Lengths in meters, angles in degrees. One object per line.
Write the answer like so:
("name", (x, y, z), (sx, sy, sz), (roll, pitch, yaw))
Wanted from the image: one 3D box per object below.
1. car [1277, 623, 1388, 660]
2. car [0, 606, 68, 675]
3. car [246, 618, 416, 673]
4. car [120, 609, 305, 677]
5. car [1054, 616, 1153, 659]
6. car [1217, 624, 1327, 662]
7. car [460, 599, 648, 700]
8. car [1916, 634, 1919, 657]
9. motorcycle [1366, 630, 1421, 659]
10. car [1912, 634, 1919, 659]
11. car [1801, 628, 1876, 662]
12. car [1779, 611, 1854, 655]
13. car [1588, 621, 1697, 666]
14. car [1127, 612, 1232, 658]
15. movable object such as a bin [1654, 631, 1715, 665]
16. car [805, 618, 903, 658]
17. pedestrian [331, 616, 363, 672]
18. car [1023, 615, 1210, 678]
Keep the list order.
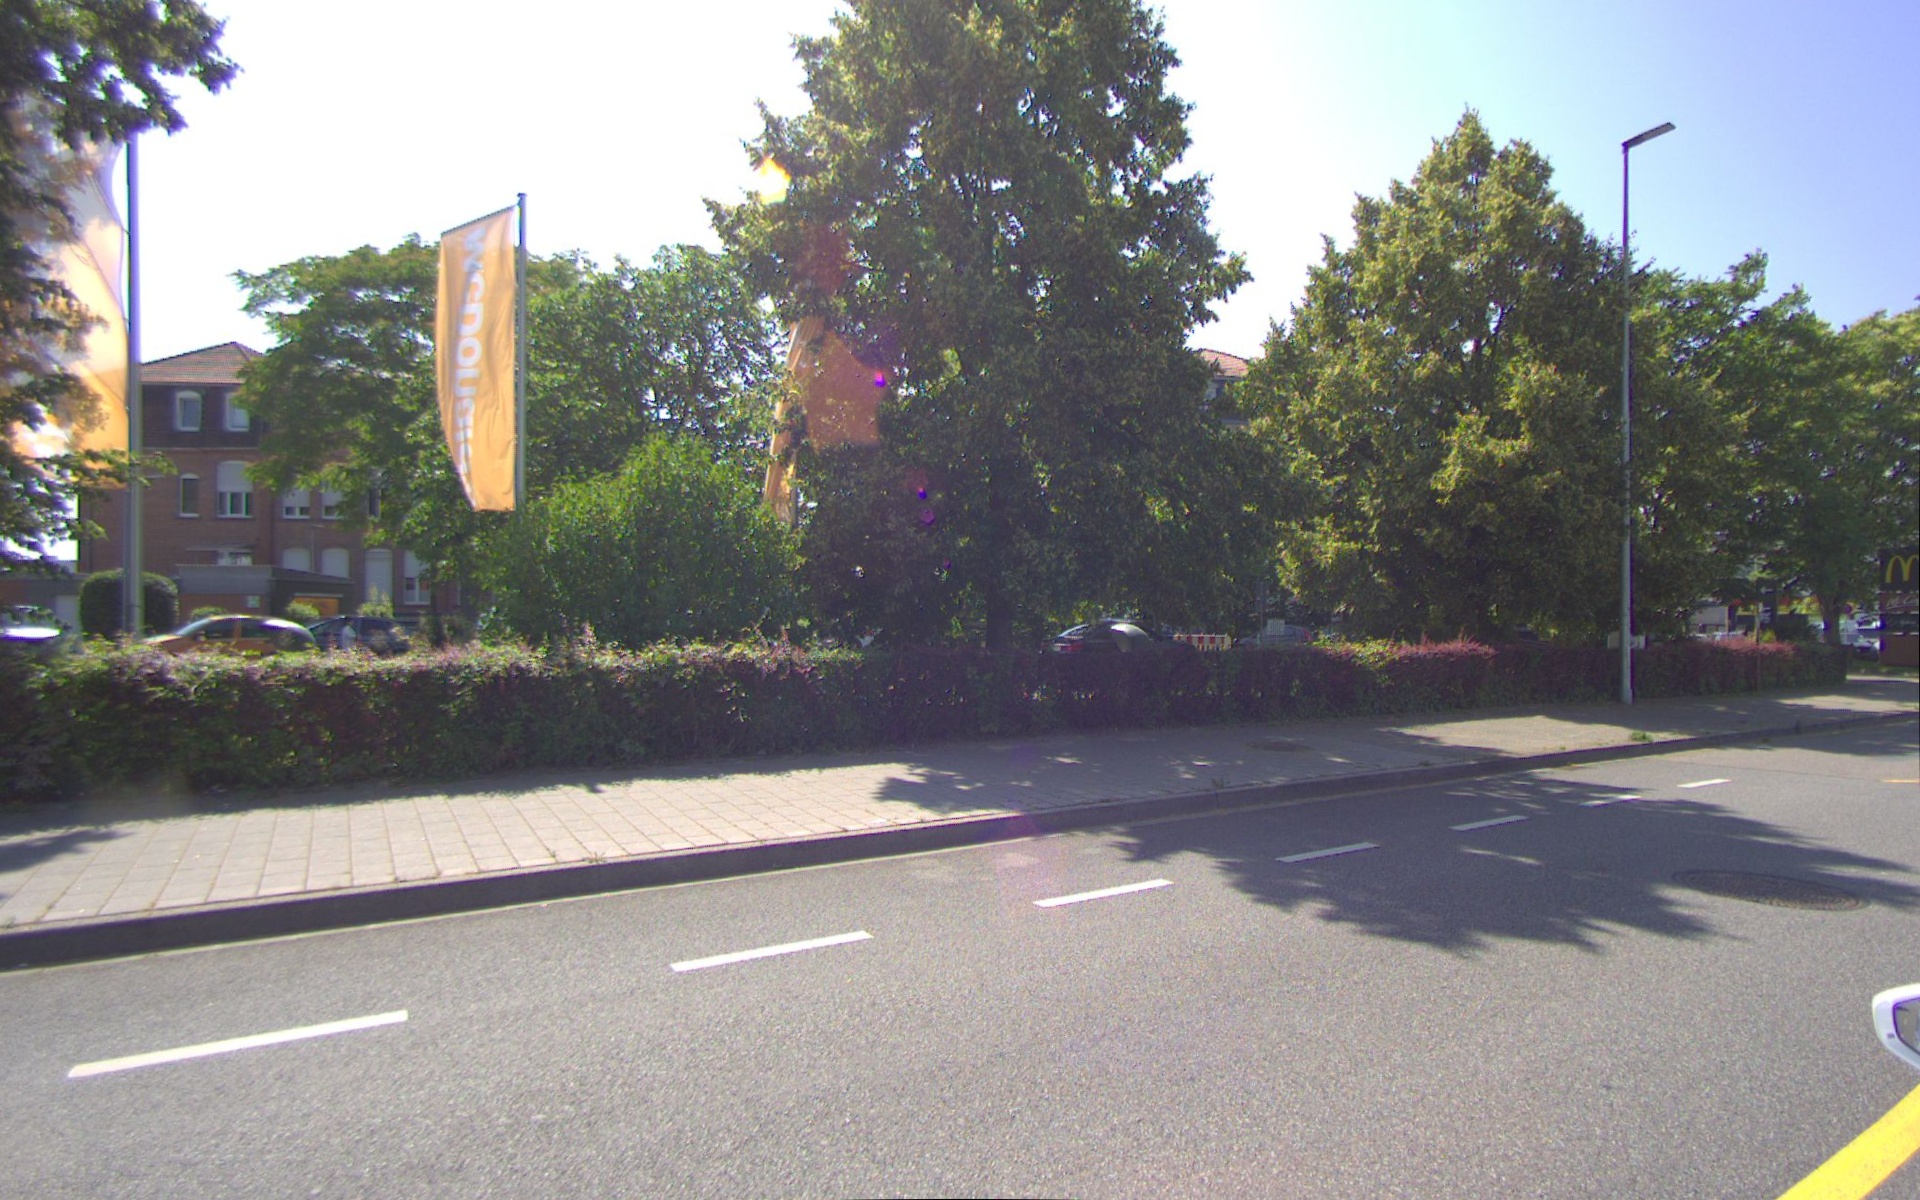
("car", (15.741, 1.710, 42.551), (4.040, 1.406, 1.759), (1, -1, 45))
("car", (-23.379, 0.960, 24.971), (1.610, 1.552, 3.564), (1, -1, -45))
("car", (-19.244, 1.364, 30.846), (1.741, 1.537, 4.146), (1, -1, 45))
("car", (-19.653, 1.096, 26.503), (1.646, 1.654, 3.701), (1, -1, 44))
("car", (5.936, 1.532, 41.795), (3.795, 1.609, 1.634), (1, -1, 43))
("car", (12.784, 1.737, 41.263), (4.016, 1.414, 1.617), (1, -1, 45))
("car", (-8.388, 0.931, 20.598), (4.287, 1.852, 1.741), (0, 0, 39))
("car", (62.681, 2.845, 63.614), (1.752, 1.492, 3.999), (-3, -4, 23))
("motorcycle", (18.919, 1.926, 43.842), (2.144, 1.147, 0.569), (1, 0, 29))
("car", (58.733, 2.739, 59.779), (1.808, 1.492, 3.996), (-3, -3, 26))
("car", (47.561, 2.465, 54.479), (2.011, 1.729, 4.311), (-1, -4, 27))
("car", (57.238, 2.241, 67.079), (6.089, 2.794, 2.263), (2, -3, -34))
("car", (32.305, 2.118, 47.695), (1.856, 1.945, 4.526), (-2, -4, -2))
("car", (9.168, 1.443, 42.204), (3.969, 1.755, 1.791), (1, -1, 45))
("movable object such as a bin", (34.519, 2.292, 47.899), (1.431, 1.546, 1.771), (-2, -2, -15))
("car", (-4.361, 1.506, 40.947), (3.991, 1.470, 1.784), (1, -1, 43))
("pedestrian", (-17.966, 1.281, 29.449), (0.686, 1.611, 0.502), (1, 0, -42))
("car", (4.349, 1.262, 27.620), (4.975, 1.581, 2.056), (2, -2, -33))
